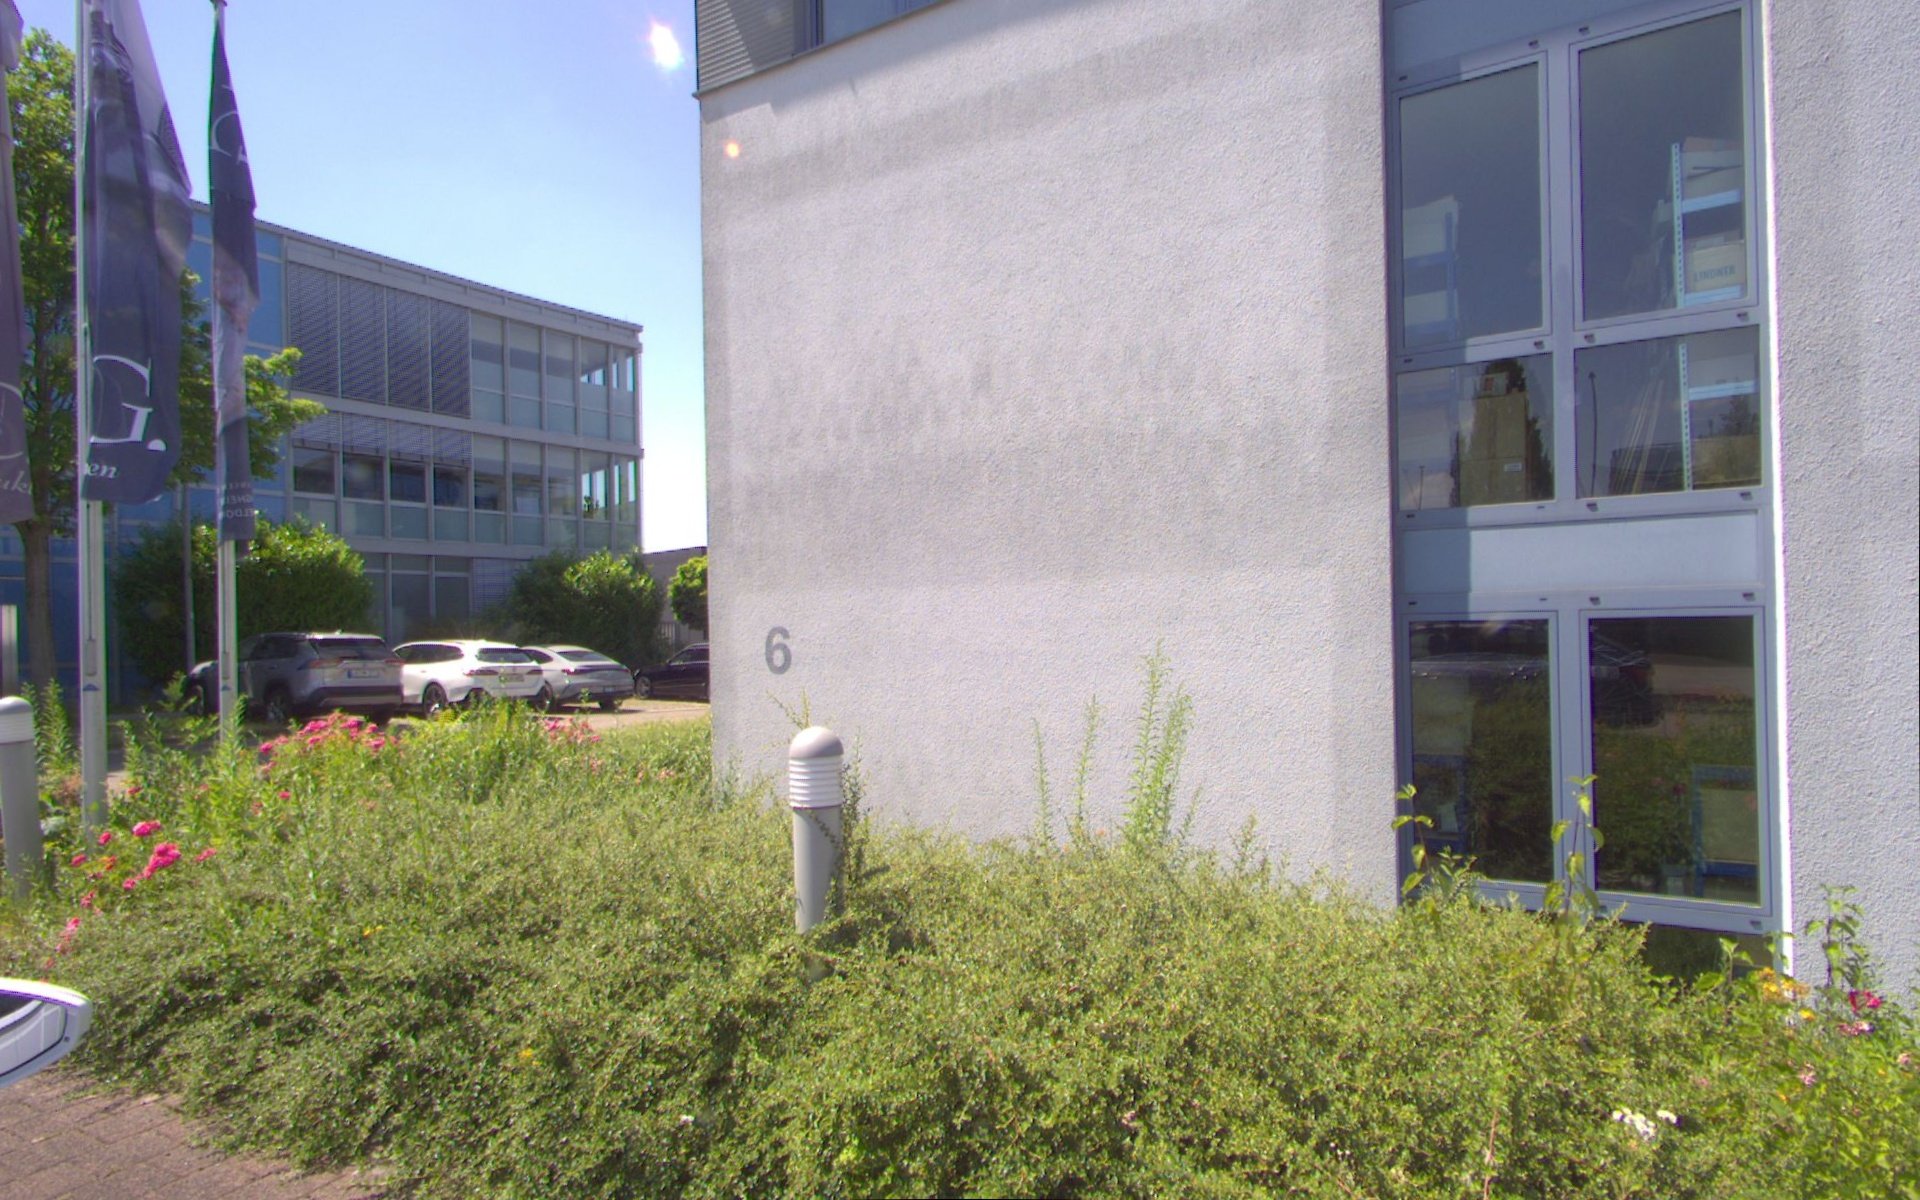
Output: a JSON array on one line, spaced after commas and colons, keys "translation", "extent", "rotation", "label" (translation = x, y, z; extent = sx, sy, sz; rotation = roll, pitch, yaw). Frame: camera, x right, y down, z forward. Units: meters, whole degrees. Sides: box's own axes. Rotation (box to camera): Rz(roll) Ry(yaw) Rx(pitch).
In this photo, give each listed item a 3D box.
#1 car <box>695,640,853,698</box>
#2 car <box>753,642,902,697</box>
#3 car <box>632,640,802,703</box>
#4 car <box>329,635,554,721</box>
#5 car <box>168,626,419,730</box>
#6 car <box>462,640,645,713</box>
[{"translation": [-5.286, 1.888, 28.227], "extent": [4.487, 1.465, 1.732], "rotation": [-1, -3, 35], "label": "car"}, {"translation": [-3.987, 2.016, 29.803], "extent": [4.358, 1.465, 1.732], "rotation": [-1, -3, 35], "label": "car"}, {"translation": [-6.356, 1.811, 26.000], "extent": [4.487, 1.465, 1.732], "rotation": [-1, -3, 35], "label": "car"}, {"translation": [-10.380, 1.504, 20.019], "extent": [4.269, 1.510, 1.737], "rotation": [0, -2, 25], "label": "car"}, {"translation": [-11.999, 1.317, 18.005], "extent": [4.269, 1.640, 1.820], "rotation": [0, -1, 25], "label": "car"}, {"translation": [-9.135, 1.653, 22.409], "extent": [4.281, 1.447, 1.732], "rotation": [-1, -3, 35], "label": "car"}]
